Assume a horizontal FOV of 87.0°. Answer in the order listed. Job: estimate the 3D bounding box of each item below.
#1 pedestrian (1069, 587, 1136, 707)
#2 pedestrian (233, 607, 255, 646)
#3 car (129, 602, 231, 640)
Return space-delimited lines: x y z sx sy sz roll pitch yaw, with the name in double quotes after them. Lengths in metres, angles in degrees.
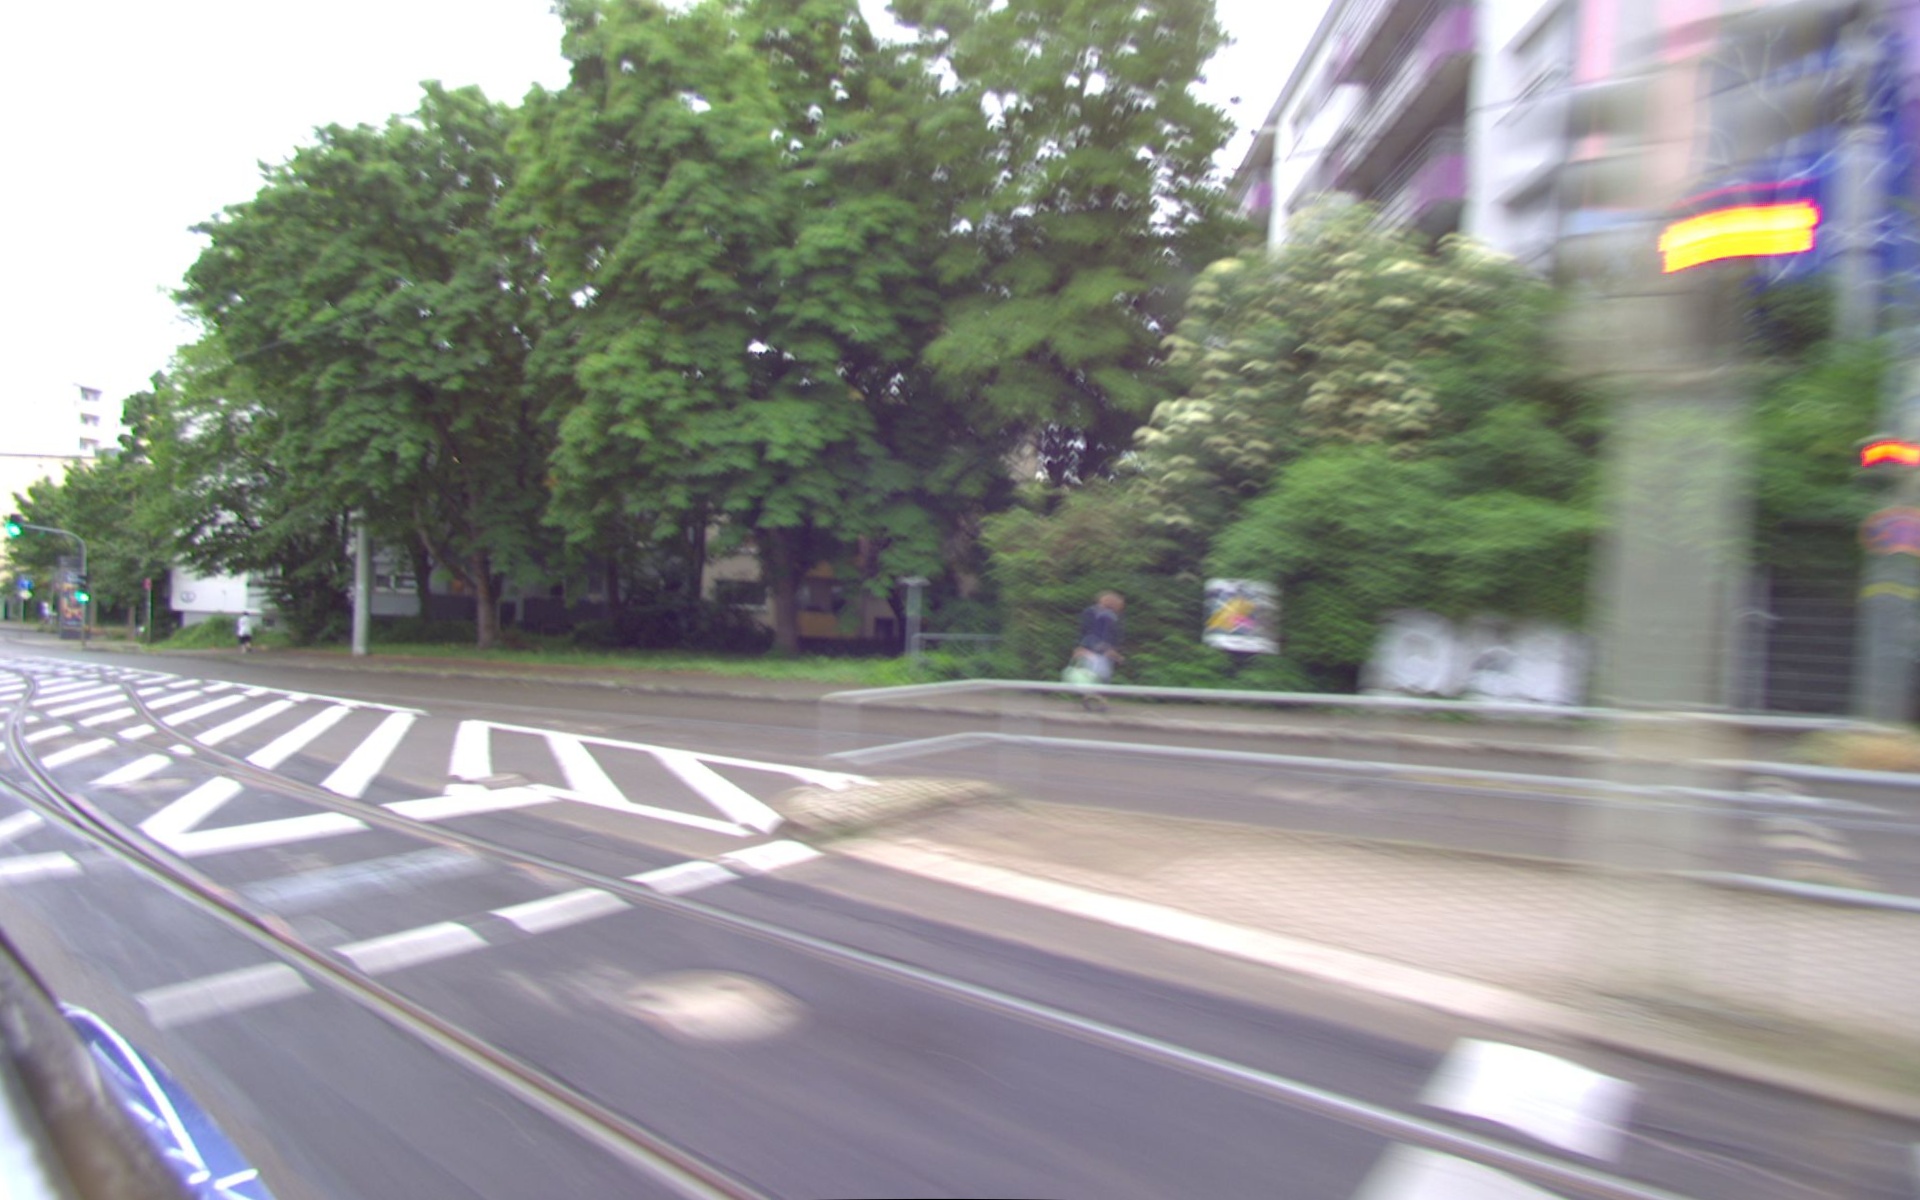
1.986 0.632 14.079 0.617 1.605 0.745 0 1 40 "pedestrian"
-27.255 1.005 38.516 0.528 1.437 0.523 0 1 40 "pedestrian"
-39.180 1.015 50.892 3.938 1.763 2.003 -2 1 -41 "car"
